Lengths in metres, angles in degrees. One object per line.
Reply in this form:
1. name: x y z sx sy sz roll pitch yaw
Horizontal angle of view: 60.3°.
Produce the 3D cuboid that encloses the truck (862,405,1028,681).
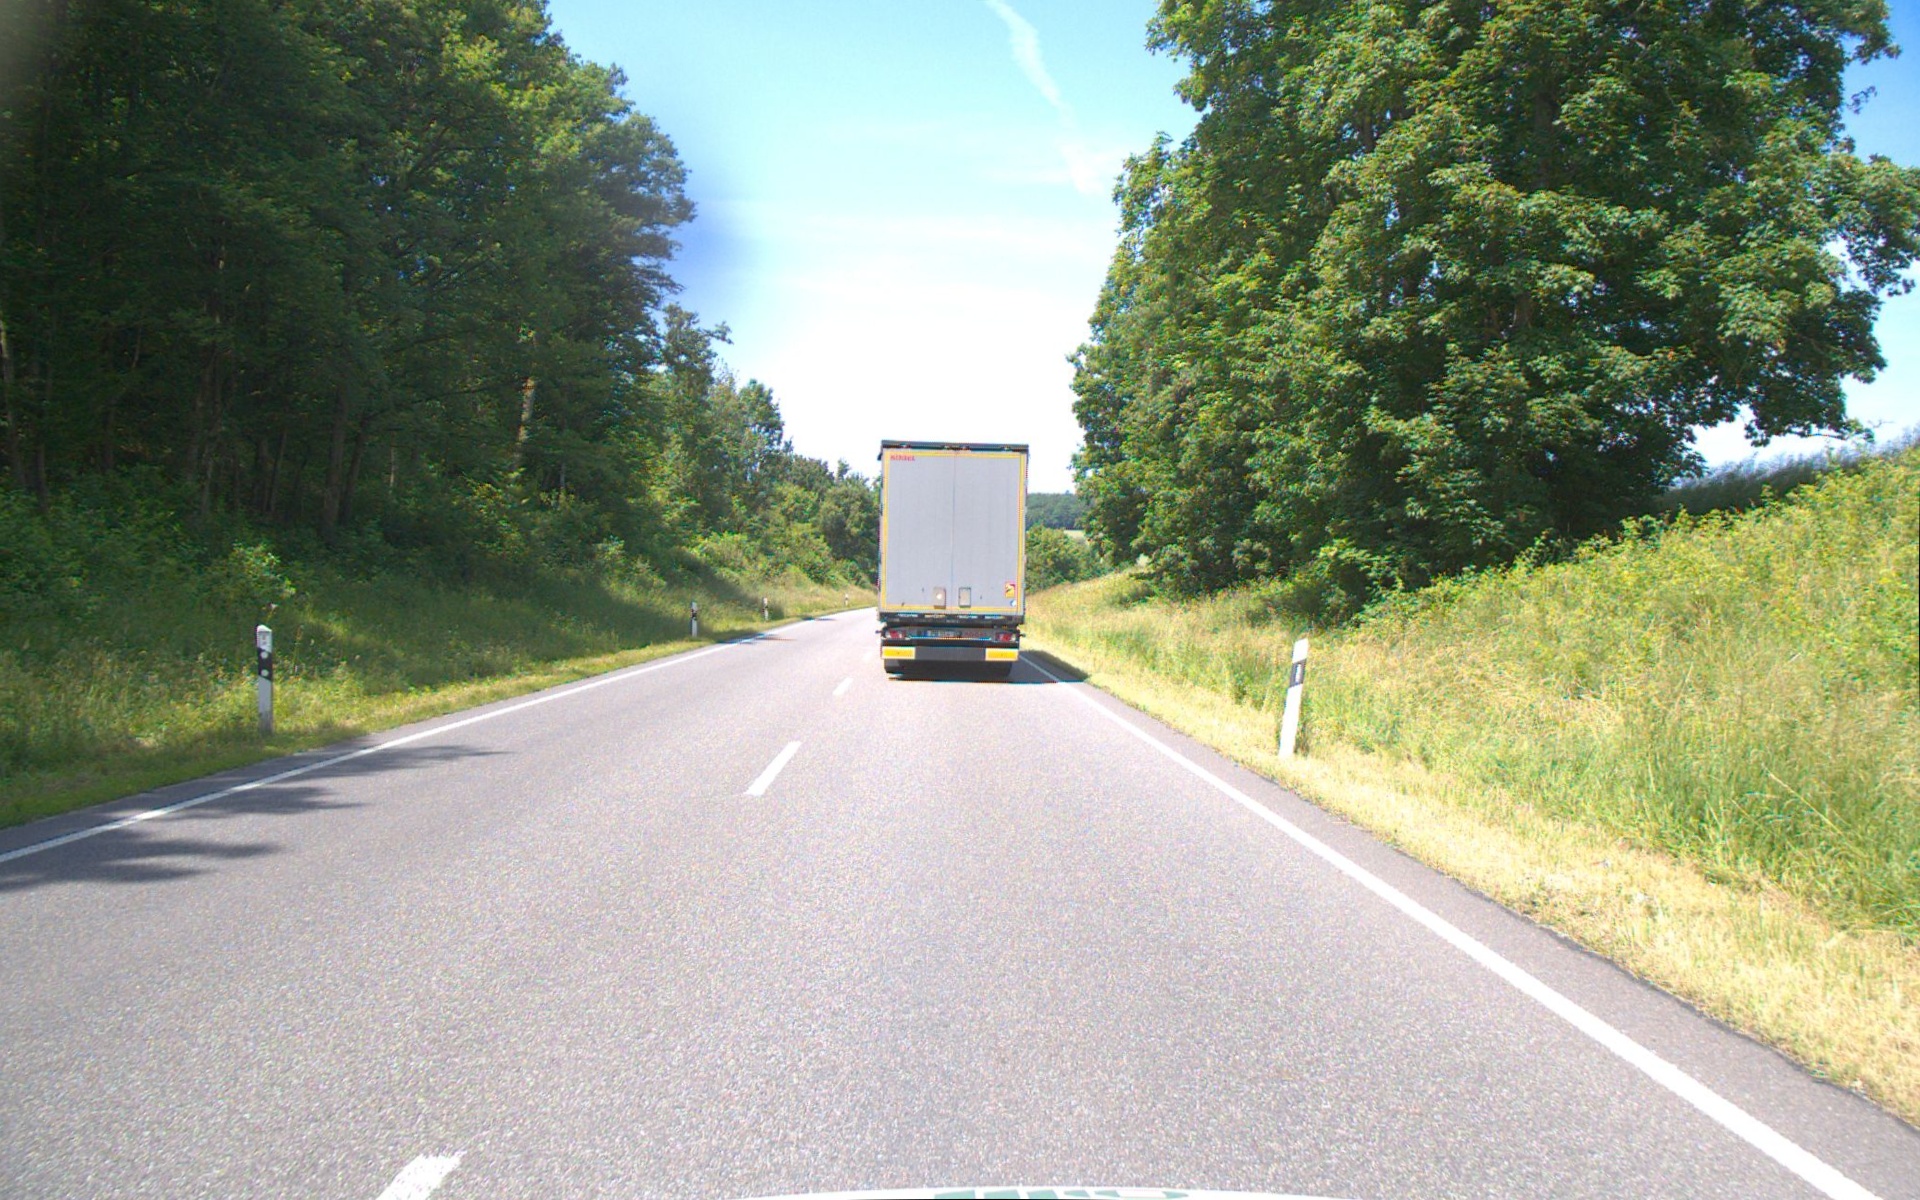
1. truck: -0.349 -0.997 33.742 2.760 4.612 11.765 1 0 -1
